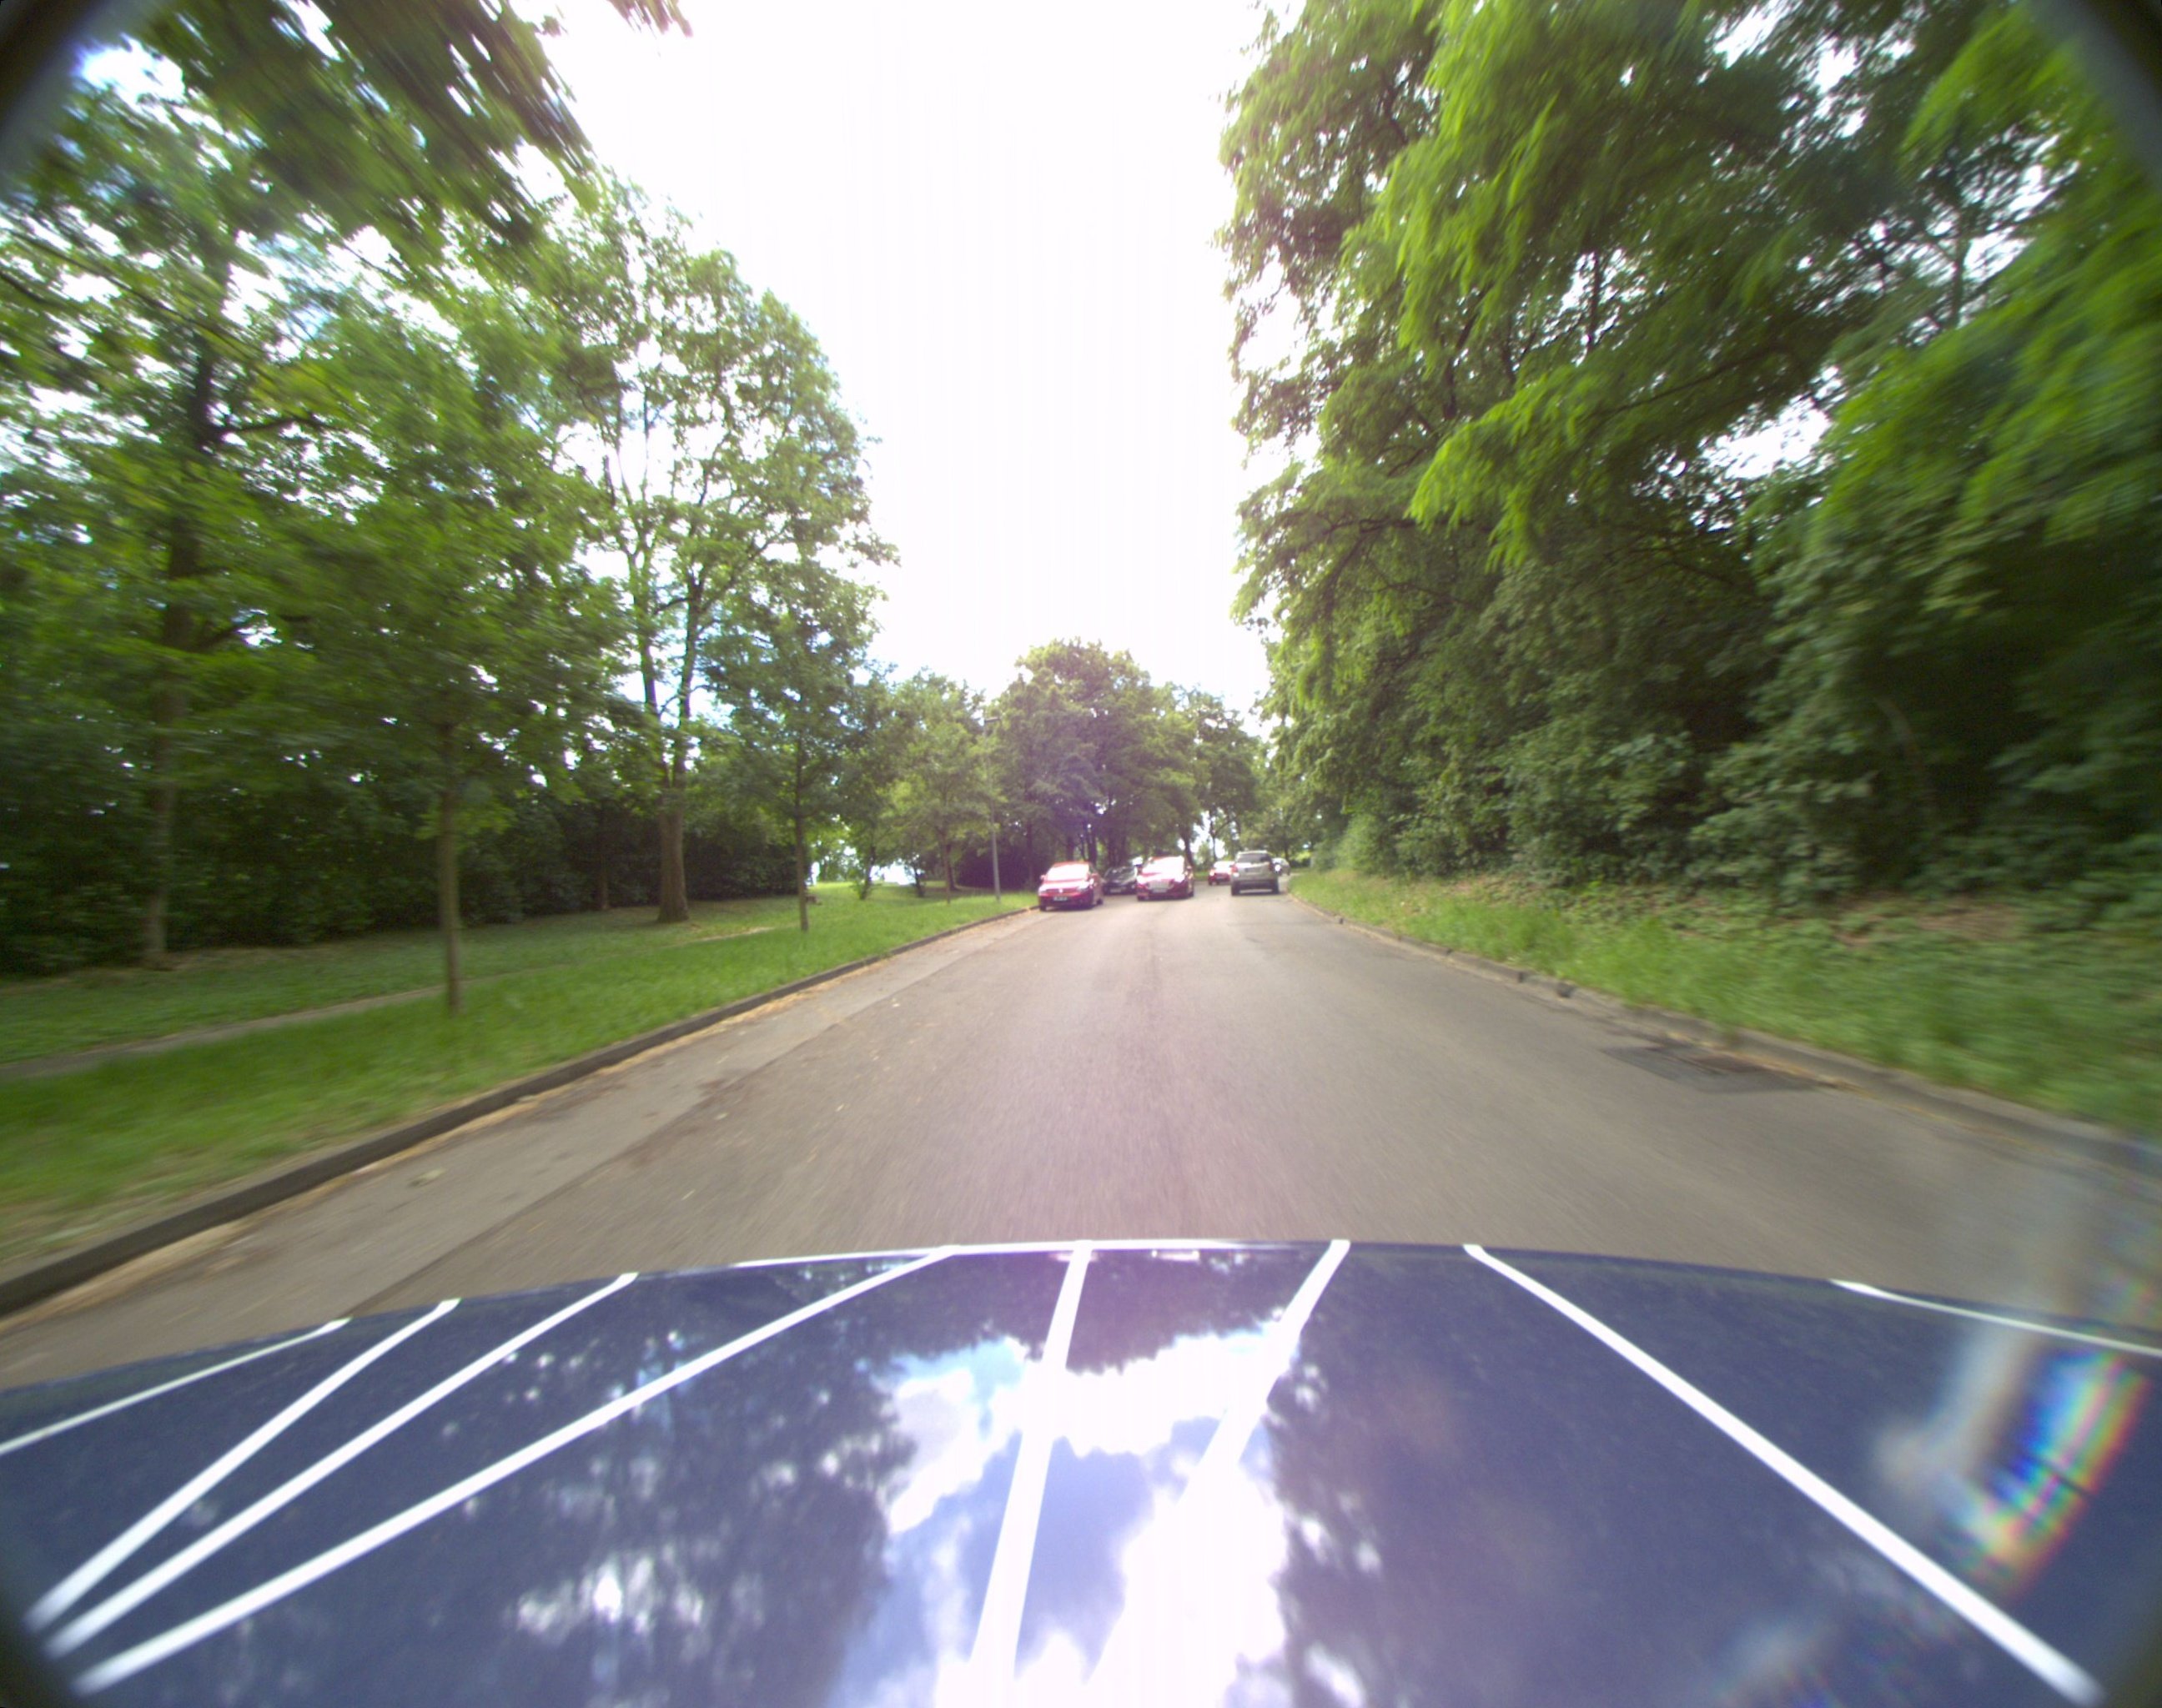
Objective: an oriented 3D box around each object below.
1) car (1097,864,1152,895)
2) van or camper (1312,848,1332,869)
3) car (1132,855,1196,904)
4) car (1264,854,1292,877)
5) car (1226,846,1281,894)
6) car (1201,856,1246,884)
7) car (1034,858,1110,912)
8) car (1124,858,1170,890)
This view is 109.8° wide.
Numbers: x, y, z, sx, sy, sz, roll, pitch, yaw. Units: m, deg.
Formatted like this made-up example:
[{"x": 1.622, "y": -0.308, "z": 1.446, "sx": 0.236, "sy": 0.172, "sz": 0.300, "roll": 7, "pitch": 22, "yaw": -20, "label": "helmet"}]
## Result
[{"x": 2.195, "y": 1.194, "z": 36.874, "sx": 1.713, "sy": 1.248, "sz": 4.682, "roll": -3, "pitch": 0, "yaw": 15, "label": "car"}, {"x": 29.036, "y": 0.542, "z": 91.377, "sx": 1.996, "sy": 2.330, "sz": 5.036, "roll": -3, "pitch": 0, "yaw": 20, "label": "van or camper"}, {"x": 3.313, "y": 0.910, "z": 29.516, "sx": 2.002, "sy": 1.599, "sz": 4.680, "roll": -3, "pitch": 0, "yaw": 11, "label": "car"}, {"x": 17.448, "y": 1.006, "z": 67.229, "sx": 1.955, "sy": 1.828, "sz": 4.683, "roll": -3, "pitch": 0, "yaw": 20, "label": "car"}, {"x": 6.904, "y": 0.606, "z": 30.767, "sx": 1.824, "sy": 1.718, "sz": 4.315, "roll": -3, "pitch": 0, "yaw": 9, "label": "car"}, {"x": 8.815, "y": 0.945, "z": 46.739, "sx": 1.955, "sy": 1.464, "sz": 4.683, "roll": -3, "pitch": 0, "yaw": 20, "label": "car"}, {"x": -0.202, "y": 0.989, "z": 26.087, "sx": 1.714, "sy": 1.543, "sz": 4.680, "roll": -3, "pitch": 0, "yaw": 10, "label": "car"}, {"x": 3.690, "y": 1.053, "z": 41.947, "sx": 1.713, "sy": 1.502, "sz": 4.682, "roll": -3, "pitch": 0, "yaw": 15, "label": "car"}]
